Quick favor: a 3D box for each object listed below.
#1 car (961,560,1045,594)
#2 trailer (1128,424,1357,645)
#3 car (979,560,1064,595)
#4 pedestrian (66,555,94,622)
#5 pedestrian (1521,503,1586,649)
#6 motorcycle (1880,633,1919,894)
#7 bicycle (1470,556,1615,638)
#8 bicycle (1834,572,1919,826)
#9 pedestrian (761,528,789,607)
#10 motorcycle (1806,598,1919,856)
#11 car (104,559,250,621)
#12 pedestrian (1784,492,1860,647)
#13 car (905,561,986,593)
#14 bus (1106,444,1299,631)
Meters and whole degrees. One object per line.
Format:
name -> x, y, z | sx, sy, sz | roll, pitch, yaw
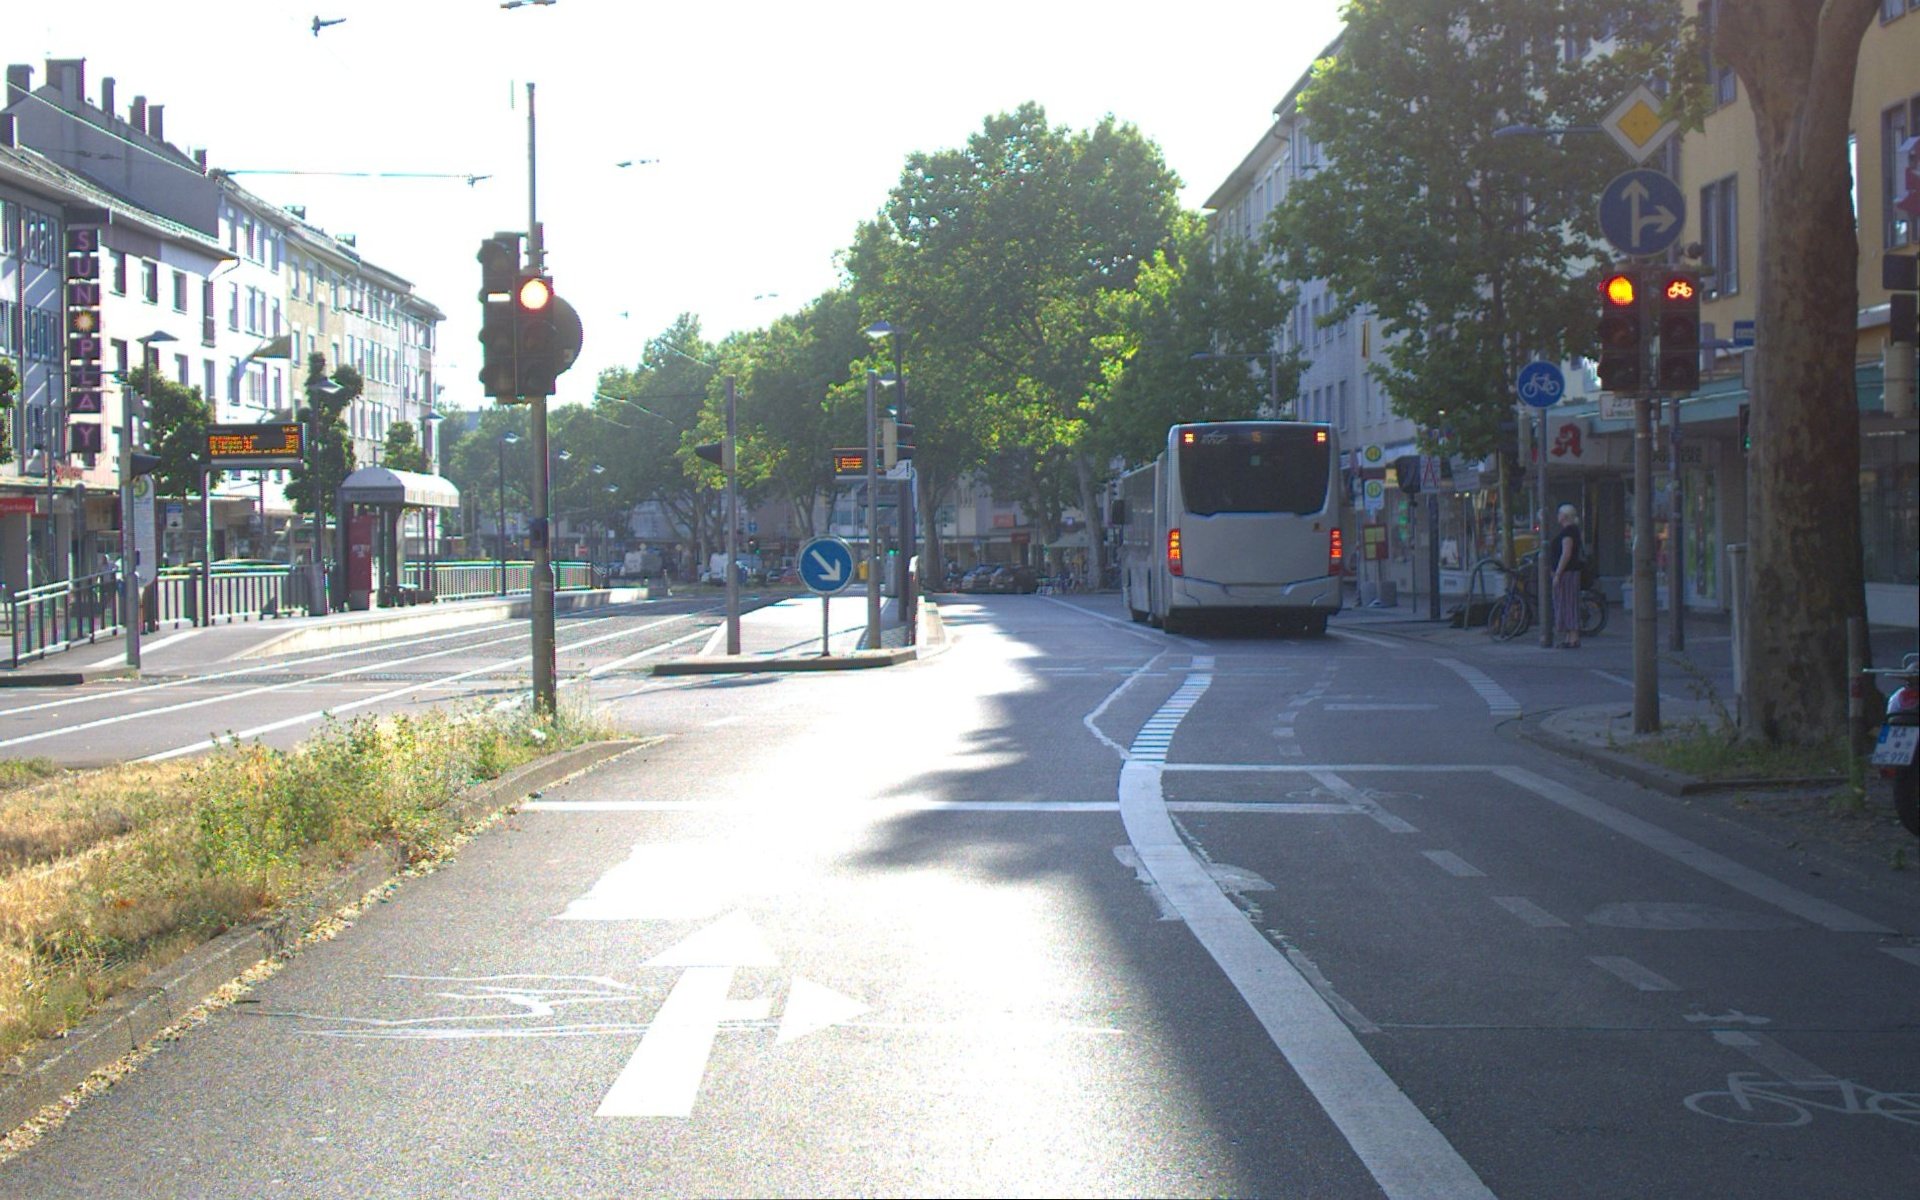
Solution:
car -> 2.213, -1.179, 176.701 | 3.889, 1.693, 1.833 | -1, 1, -28
trailer -> 4.255, -1.005, 53.600 | 2.812, 3.099, 8.794 | 1, 1, 0
car -> 3.089, -1.138, 173.311 | 3.889, 1.693, 1.833 | -1, 1, -28
pedestrian -> -26.352, -0.351, 102.925 | 0.708, 2.007, 0.949 | -1, 1, -11
pedestrian -> 7.306, -0.300, 42.339 | 0.680, 1.764, 0.687 | -1, 1, 1
motorcycle -> 5.007, 0.626, 14.354 | 2.205, 1.059, 0.767 | -3, 2, -22
bicycle -> 7.749, -0.049, 45.795 | 1.772, 1.018, 0.694 | -2, 1, 0
bicycle -> 5.271, 0.467, 17.905 | 0.695, 1.199, 1.843 | 2, 5, 39
pedestrian -> -2.069, -0.369, 38.401 | 0.291, 0.872, 0.344 | 1, 1, -3
motorcycle -> 4.904, 0.565, 16.530 | 1.993, 1.148, 0.601 | -2, 2, -42
car -> -23.868, -0.327, 104.785 | 3.986, 1.809, 2.000 | -1, 1, -26
pedestrian -> 10.032, -0.357, 40.016 | 0.680, 1.764, 0.687 | 1, 1, 1
car -> -0.751, -1.232, 181.193 | 3.889, 1.591, 1.691 | -1, 1, -28
bus -> 4.284, -1.131, 62.548 | 2.812, 3.091, 9.094 | 1, 1, 0
